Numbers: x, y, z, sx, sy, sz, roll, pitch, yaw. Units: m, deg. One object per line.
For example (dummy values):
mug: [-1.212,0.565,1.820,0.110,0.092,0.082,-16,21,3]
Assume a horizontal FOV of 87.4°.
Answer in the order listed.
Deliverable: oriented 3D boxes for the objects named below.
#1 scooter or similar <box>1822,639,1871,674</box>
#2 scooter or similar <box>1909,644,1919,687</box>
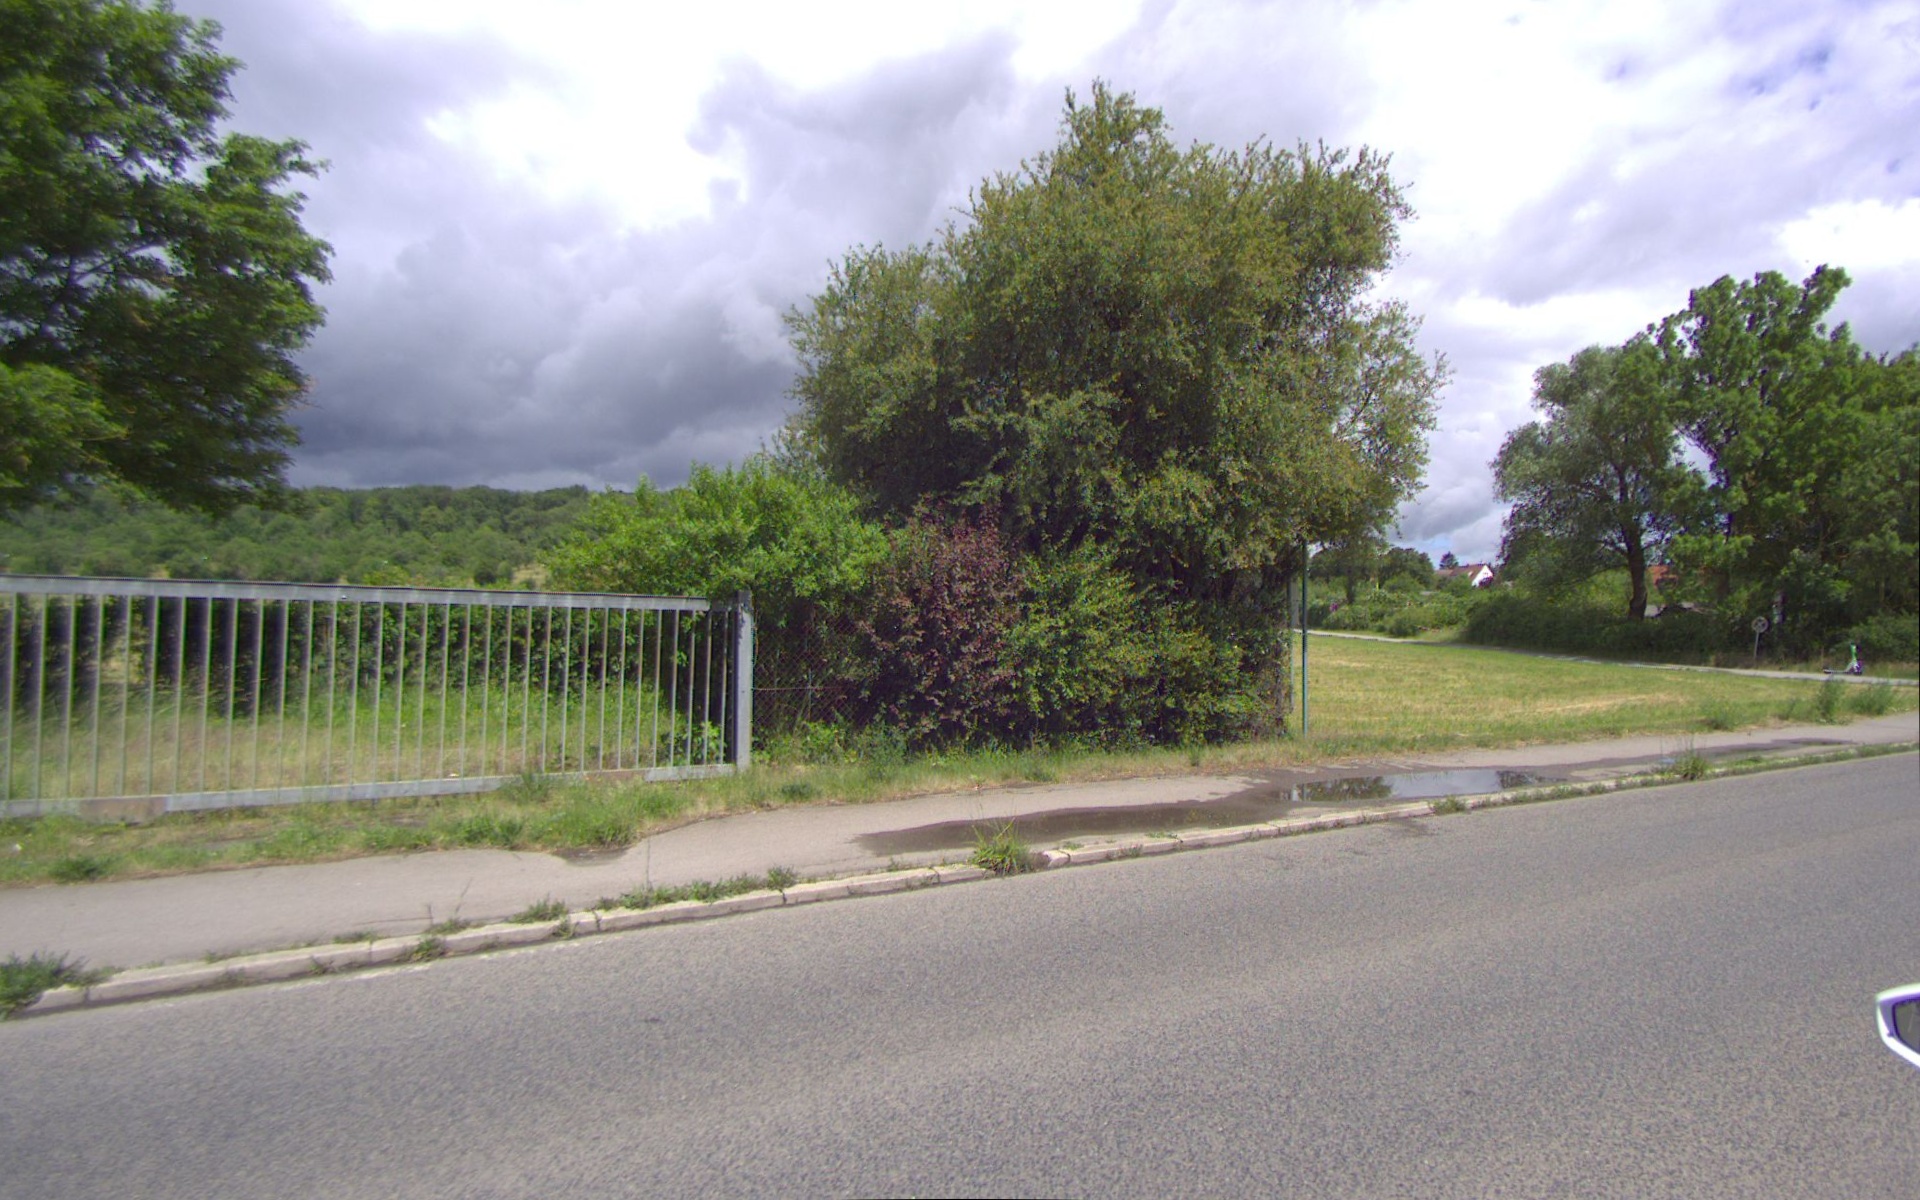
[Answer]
scooter or similar: [30.778,1.952,34.888,0.400,1.184,1.243,1,0,-17]
scooter or similar: [26.836,1.819,27.611,0.398,1.184,1.352,1,0,11]
